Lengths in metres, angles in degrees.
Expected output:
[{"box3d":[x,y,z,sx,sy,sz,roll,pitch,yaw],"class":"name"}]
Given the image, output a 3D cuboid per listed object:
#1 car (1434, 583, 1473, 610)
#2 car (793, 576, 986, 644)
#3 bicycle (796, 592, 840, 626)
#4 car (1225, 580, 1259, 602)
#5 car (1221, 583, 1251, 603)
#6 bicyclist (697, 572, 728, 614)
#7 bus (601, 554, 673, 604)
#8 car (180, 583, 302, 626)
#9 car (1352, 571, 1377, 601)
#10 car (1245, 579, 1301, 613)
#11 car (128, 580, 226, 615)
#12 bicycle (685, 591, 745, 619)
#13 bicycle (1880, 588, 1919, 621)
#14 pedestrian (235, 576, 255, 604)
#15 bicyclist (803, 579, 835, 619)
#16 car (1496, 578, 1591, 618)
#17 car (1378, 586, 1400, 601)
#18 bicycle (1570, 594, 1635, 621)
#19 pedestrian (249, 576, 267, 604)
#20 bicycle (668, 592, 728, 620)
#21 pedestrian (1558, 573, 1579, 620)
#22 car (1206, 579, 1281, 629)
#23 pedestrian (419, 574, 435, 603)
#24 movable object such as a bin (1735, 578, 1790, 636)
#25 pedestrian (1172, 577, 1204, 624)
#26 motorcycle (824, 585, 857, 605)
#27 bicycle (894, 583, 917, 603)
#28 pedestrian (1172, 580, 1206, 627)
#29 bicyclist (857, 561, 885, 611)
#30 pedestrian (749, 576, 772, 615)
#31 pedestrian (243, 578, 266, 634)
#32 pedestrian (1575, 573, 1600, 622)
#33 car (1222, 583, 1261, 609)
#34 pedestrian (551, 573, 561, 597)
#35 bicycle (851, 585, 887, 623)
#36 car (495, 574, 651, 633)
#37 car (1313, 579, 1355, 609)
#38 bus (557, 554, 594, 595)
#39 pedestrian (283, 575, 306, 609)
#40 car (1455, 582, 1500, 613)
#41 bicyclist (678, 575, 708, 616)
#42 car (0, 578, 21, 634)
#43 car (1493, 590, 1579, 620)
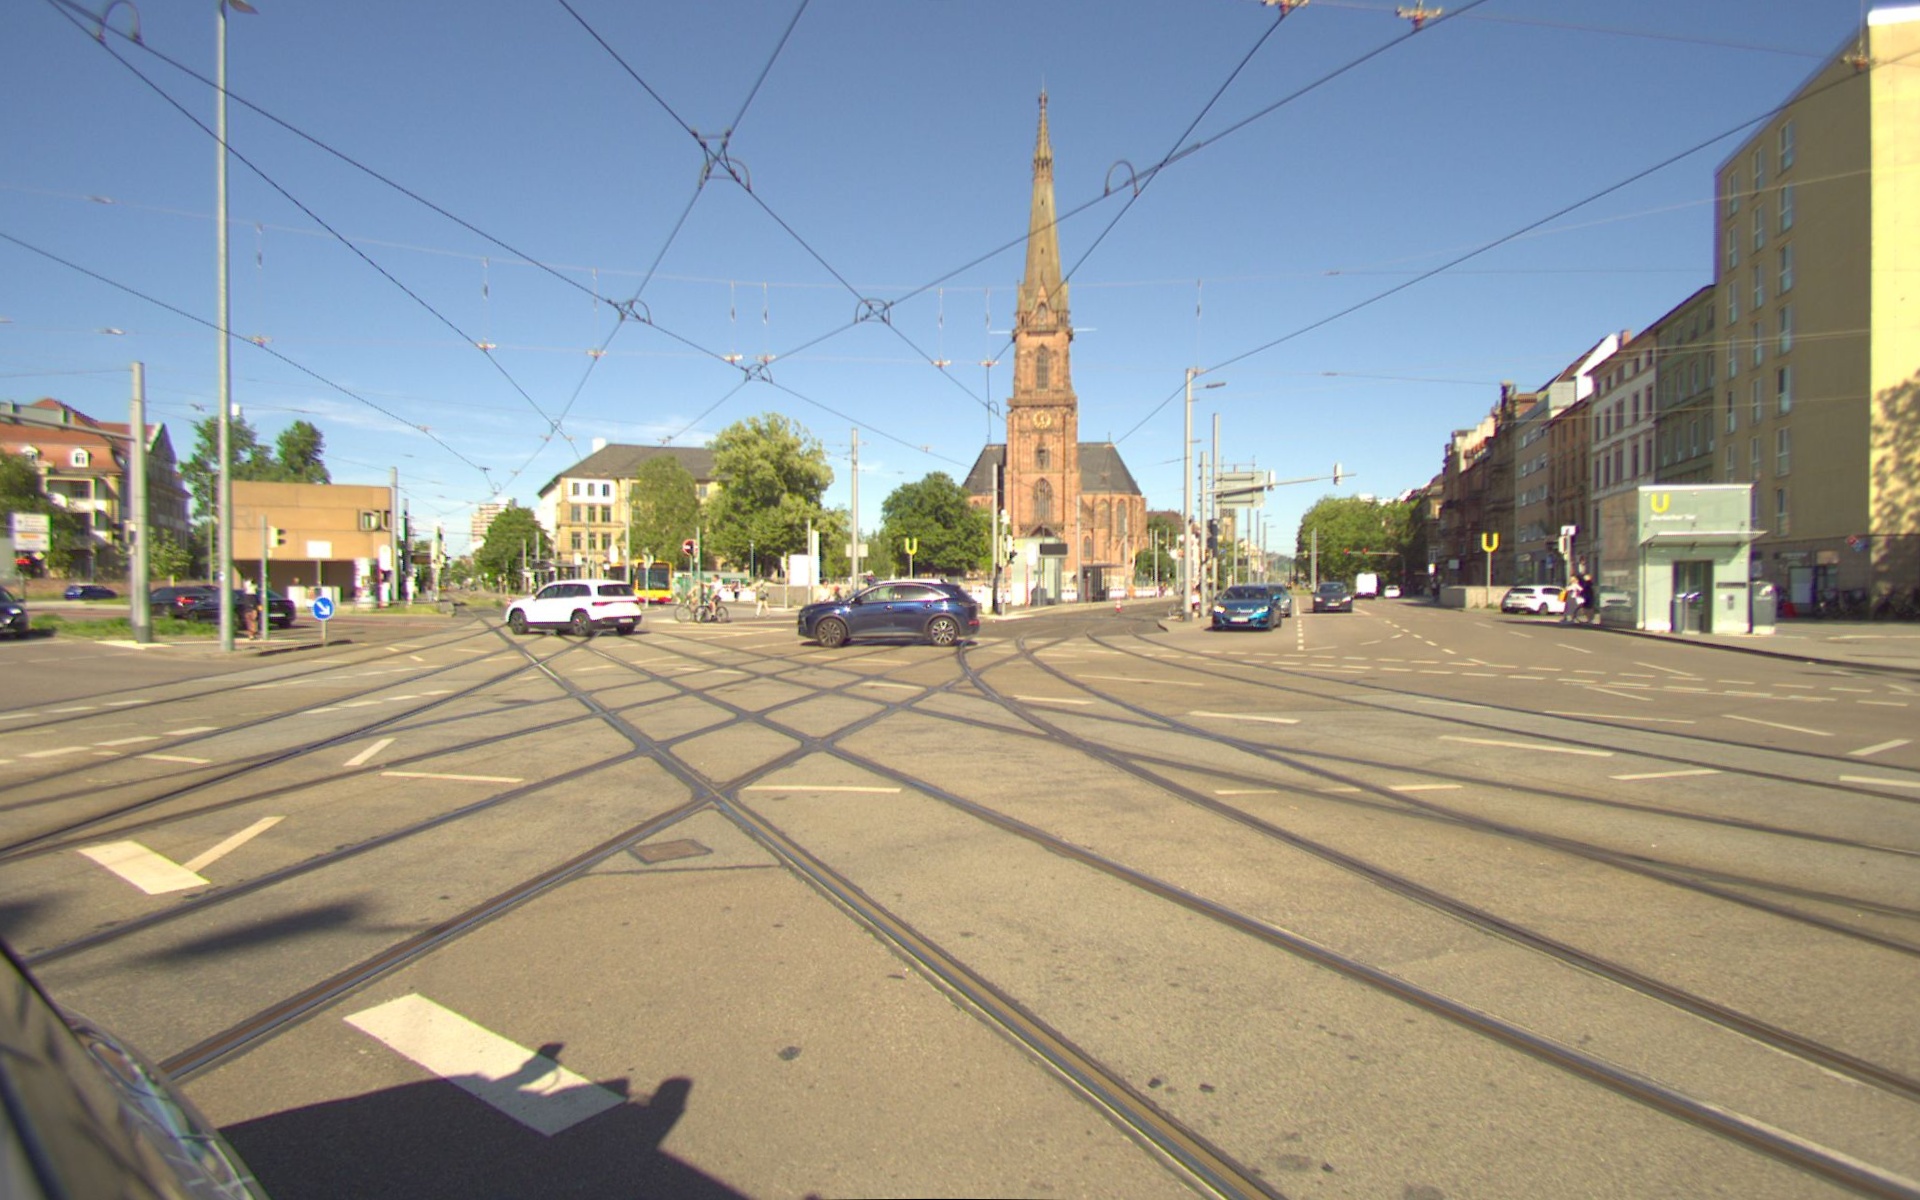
[{"box3d":[34.017,-0.260,69.831,1.986,1.677,3.973,0,3,21],"class":"car"},{"box3d":[-1.731,0.218,25.085,4.561,1.589,2.046,0,2,-3],"class":"car"},{"box3d":[-4.840,0.292,34.527,0.613,1.113,1.708,1,1,28],"class":"bicycle"},{"box3d":[18.360,-0.637,66.082,1.894,1.370,3.985,0,1,12],"class":"car"},{"box3d":[20.376,-0.538,74.892,1.894,1.370,3.985,0,1,12],"class":"car"},{"box3d":[-9.383,-0.290,38.376,0.594,1.561,0.984,1,2,35],"class":"bicyclist"},{"box3d":[-23.590,-1.670,73.401,2.801,3.144,11.860,-2,4,-28],"class":"bus"},{"box3d":[-25.697,0.129,36.157,4.462,1.427,1.834,0,1,29],"class":"car"},{"box3d":[43.987,-1.529,110.055,1.982,3.130,4.898,0,3,15],"class":"car"},{"box3d":[13.324,-0.204,43.265,1.778,1.338,4.584,0,2,11],"class":"car"},{"box3d":[-34.605,-0.149,44.703,4.628,1.469,1.868,1,2,31],"class":"car"},{"box3d":[-9.294,0.168,38.490,0.614,0.997,2.448,1,1,34],"class":"bicycle"},{"box3d":[35.508,0.164,37.532,1.933,1.225,0.615,0,2,20],"class":"bicycle"},{"box3d":[-43.907,-0.616,62.120,0.738,1.725,0.704,-1,2,-13],"class":"pedestrian"},{"box3d":[-4.810,-0.046,34.570,0.756,1.332,0.787,0,1,29],"class":"bicyclist"},{"box3d":[28.779,-0.119,49.912,3.931,1.765,2.007,-2,3,-21],"class":"car"},{"box3d":[49.785,-0.795,117.425,1.984,1.616,4.096,0,3,18],"class":"car"},{"box3d":[23.323,0.276,36.784,1.939,0.928,0.614,0,3,28],"class":"bicycle"},{"box3d":[-42.842,-0.619,61.777,0.634,1.725,0.704,-1,2,-13],"class":"pedestrian"},{"box3d":[-10.093,0.217,39.054,0.614,0.997,2.448,1,1,34],"class":"bicycle"},{"box3d":[22.778,-0.139,37.897,0.612,1.718,0.709,0,3,29],"class":"pedestrian"},{"box3d":[9.044,0.067,32.578,1.893,1.469,4.585,0,2,10],"class":"car"},{"box3d":[-36.332,-0.786,69.004,0.844,1.894,0.695,-2,2,-19],"class":"pedestrian"},{"box3d":[23.273,0.190,29.378,0.929,1.646,0.986,0,2,17],"class":"movable object such as a bin"},{"box3d":[9.677,0.001,42.996,0.992,1.917,0.981,1,3,38],"class":"pedestrian"},{"box3d":[-7.789,-0.345,66.180,2.070,1.263,0.536,-2,3,-27],"class":"motorcycle"},{"box3d":[-3.691,-0.472,68.476,1.476,1.279,0.367,-2,3,-22],"class":"bicycle"},{"box3d":[9.309,0.128,41.133,0.979,1.813,0.995,-3,3,-44],"class":"pedestrian"},{"box3d":[-3.058,-0.477,34.920,0.753,1.688,0.791,0,1,15],"class":"bicyclist"},{"box3d":[-8.557,-0.209,43.334,0.607,1.619,0.706,1,3,37],"class":"pedestrian"},{"box3d":[-20.026,0.154,28.718,0.645,1.567,0.367,1,3,45],"class":"pedestrian"},{"box3d":[22.608,-0.090,36.445,0.713,1.718,0.609,0,3,29],"class":"pedestrian"},{"box3d":[16.177,-0.254,58.391,1.894,1.370,3.985,0,1,12],"class":"car"},{"box3d":[-32.421,-1.202,81.252,0.679,1.875,0.732,-2,3,-23],"class":"pedestrian"},{"box3d":[-3.123,0.135,34.976,0.610,1.266,1.955,0,1,15],"class":"bicycle"},{"box3d":[-11.685,0.059,30.478,4.546,1.653,1.983,1,1,30],"class":"car"},{"box3d":[18.101,-0.322,49.016,1.784,1.338,4.569,1,2,20],"class":"car"},{"box3d":[-31.071,-1.997,81.566,2.104,3.069,8.587,-2,2,-25],"class":"bus"},{"box3d":[-36.549,-0.449,55.547,0.844,1.842,0.704,-2,2,-19],"class":"pedestrian"},{"box3d":[31.616,-0.175,61.893,1.986,1.677,3.973,0,3,21],"class":"car"},{"box3d":[-10.234,-0.183,38.864,0.575,1.540,0.945,1,3,34],"class":"bicyclist"},{"box3d":[-28.238,0.160,28.748,3.910,1.543,1.666,1,3,38],"class":"car"},{"box3d":[30.403,0.221,53.430,3.931,1.370,1.824,-2,3,-21],"class":"car"}]
